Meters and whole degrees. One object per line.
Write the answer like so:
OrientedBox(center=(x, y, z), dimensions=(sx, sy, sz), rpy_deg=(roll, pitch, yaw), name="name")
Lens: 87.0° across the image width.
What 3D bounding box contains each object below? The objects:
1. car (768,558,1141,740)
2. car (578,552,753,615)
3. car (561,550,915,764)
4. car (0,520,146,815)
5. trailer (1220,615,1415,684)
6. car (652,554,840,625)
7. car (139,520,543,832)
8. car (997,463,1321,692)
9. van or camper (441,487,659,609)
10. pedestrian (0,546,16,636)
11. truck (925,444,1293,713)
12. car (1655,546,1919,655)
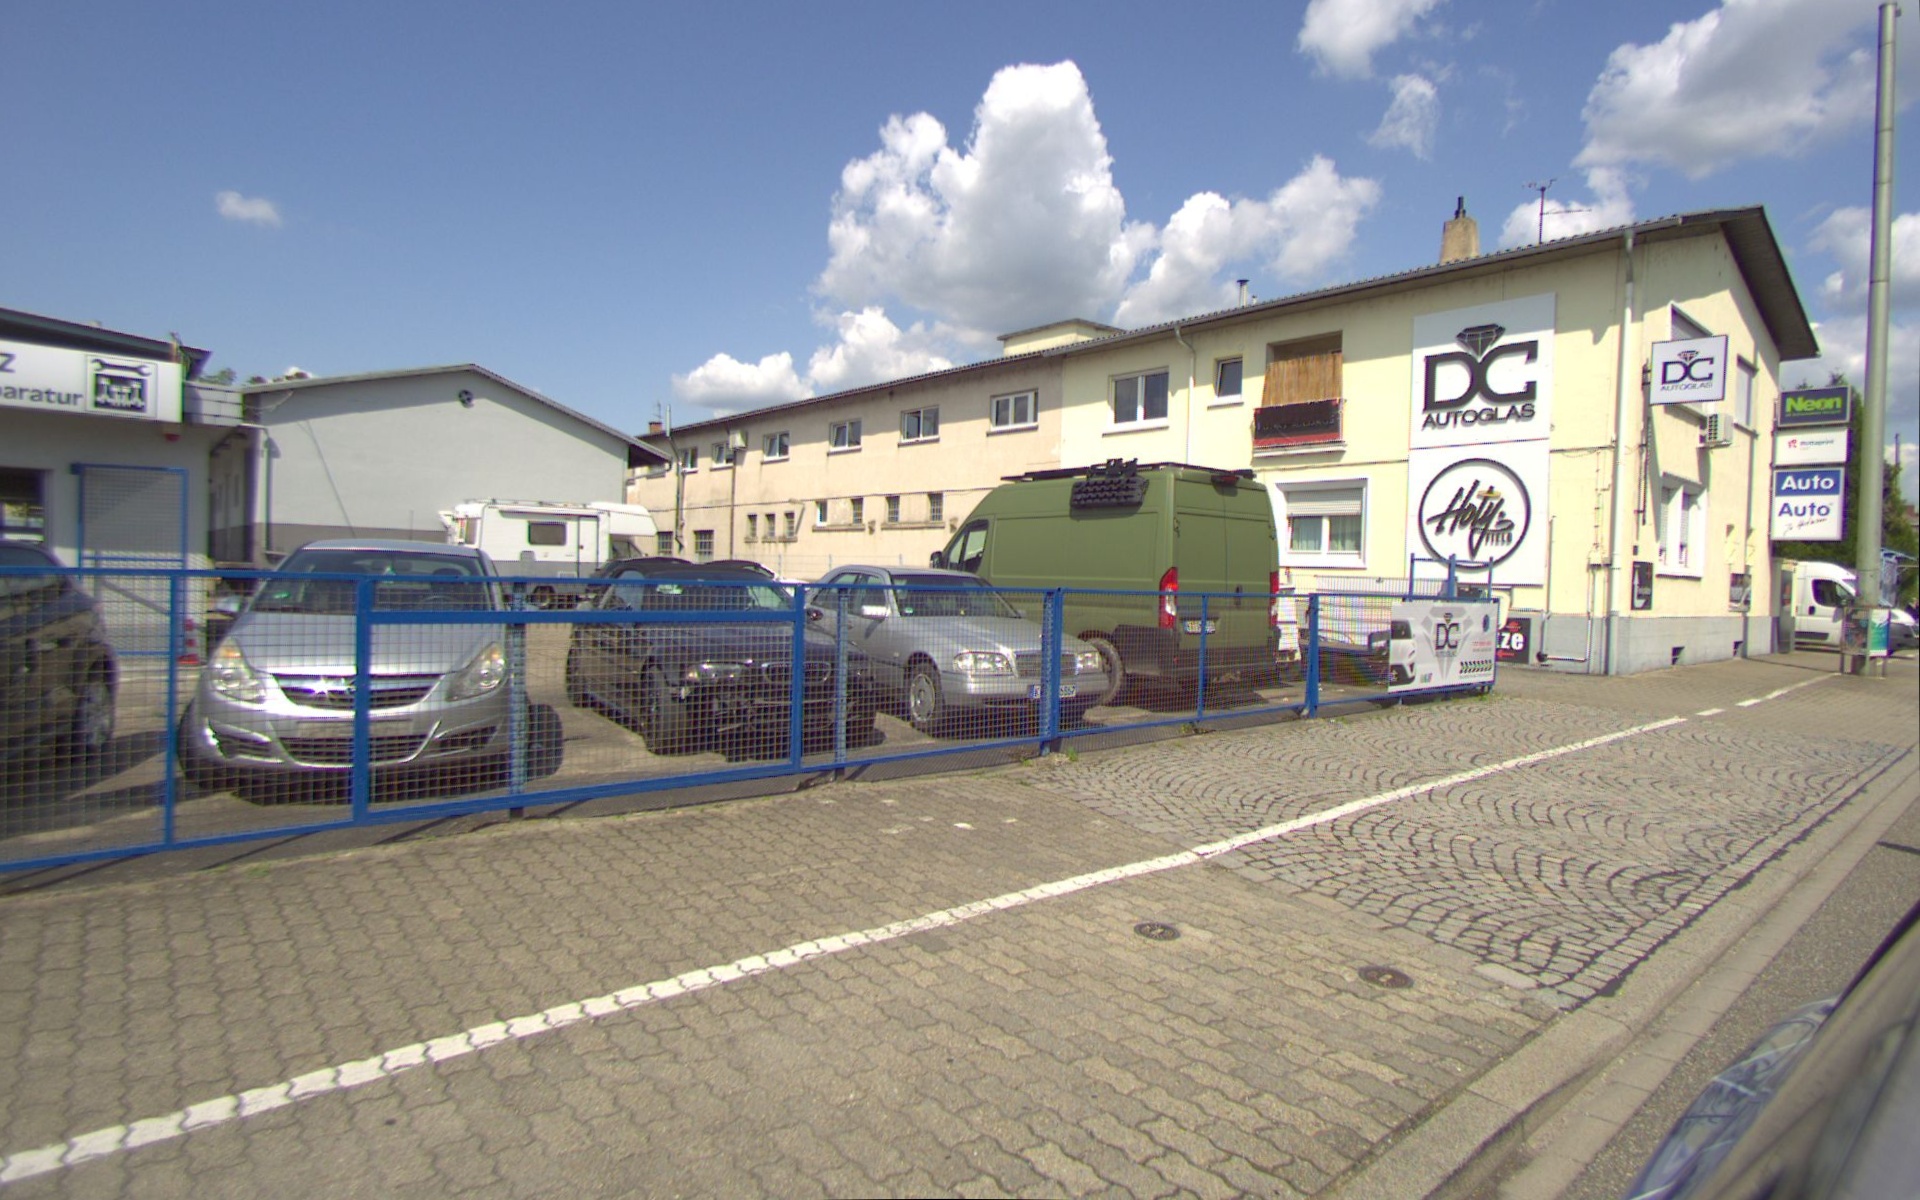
OrientedBox(center=(-0.293, 0.318, 10.208), dimensions=(1.768, 1.413, 4.216), rpy_deg=(1, 2, -33), name="car")
OrientedBox(center=(-7.476, -0.412, 25.892), dimensions=(3.939, 1.497, 1.719), rpy_deg=(0, 2, -41), name="car")
OrientedBox(center=(-2.121, 0.308, 8.749), dimensions=(1.768, 1.403, 3.837), rpy_deg=(1, 2, -32), name="car")
OrientedBox(center=(-5.743, 0.322, 5.036), dimensions=(1.685, 1.497, 4.012), rpy_deg=(1, 2, -25), name="car")
OrientedBox(center=(5.086, 0.667, 14.531), dimensions=(1.245, 0.776, 2.330), rpy_deg=(0, 2, -39), name="trailer")
OrientedBox(center=(-4.923, -0.248, 23.522), dimensions=(3.939, 1.497, 1.719), rpy_deg=(0, 2, -41), name="car")
OrientedBox(center=(-3.947, 0.300, 7.105), dimensions=(1.766, 1.497, 4.158), rpy_deg=(1, 2, -24), name="car")
OrientedBox(center=(2.615, -0.348, 14.145), dimensions=(1.771, 2.702, 4.208), rpy_deg=(1, 2, -40), name="car")
OrientedBox(center=(-11.004, -1.325, 27.370), dimensions=(4.971, 2.999, 2.284), rpy_deg=(0, 2, -42), name="van or camper")
OrientedBox(center=(-13.255, -0.129, 13.843), dimensions=(0.479, 1.228, 0.501), rpy_deg=(1, 1, -42), name="pedestrian")
OrientedBox(center=(1.627, -0.287, 12.148), dimensions=(2.033, 2.639, 3.996), rpy_deg=(1, 2, -40), name="truck")
OrientedBox(center=(22.718, -0.088, 27.412), dimensions=(1.963, 2.404, 5.989), rpy_deg=(1, 5, -38), name="car")
